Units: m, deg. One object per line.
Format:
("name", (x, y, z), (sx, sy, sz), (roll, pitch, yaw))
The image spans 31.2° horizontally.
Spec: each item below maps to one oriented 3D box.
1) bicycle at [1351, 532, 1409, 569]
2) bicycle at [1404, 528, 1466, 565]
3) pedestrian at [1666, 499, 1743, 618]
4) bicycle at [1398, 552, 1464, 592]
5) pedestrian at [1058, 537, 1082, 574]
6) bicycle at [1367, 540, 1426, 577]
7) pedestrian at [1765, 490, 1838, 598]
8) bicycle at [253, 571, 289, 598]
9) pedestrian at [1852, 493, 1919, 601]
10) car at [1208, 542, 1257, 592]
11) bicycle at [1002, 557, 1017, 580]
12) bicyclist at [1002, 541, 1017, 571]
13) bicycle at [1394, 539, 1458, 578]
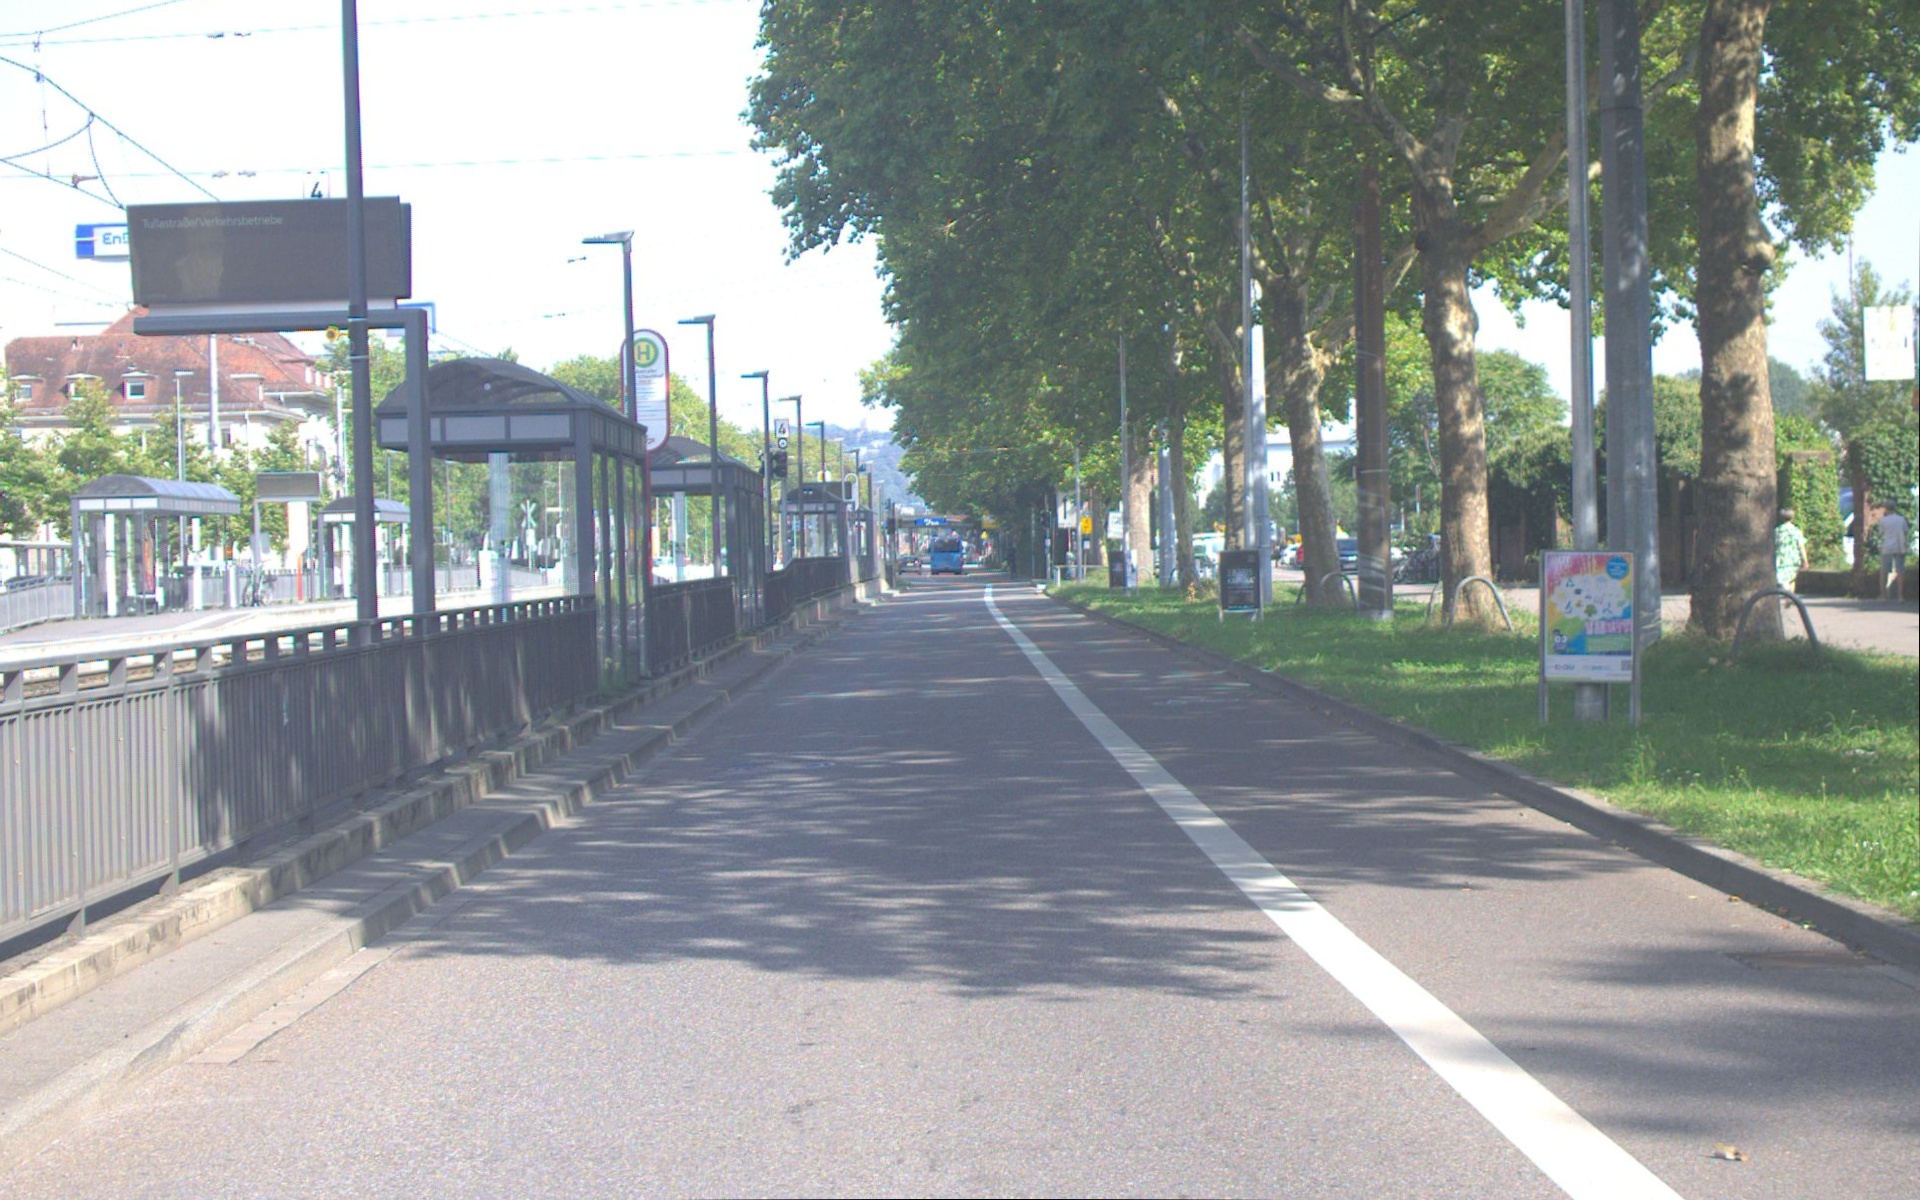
("bicycle", (11.931, -1.408, 97.655), (0.505, 0.966, 1.661), (-4, 1, -41))
("bicycle", (13.589, -1.522, 98.351), (1.656, 0.966, 0.506), (-3, 1, 3))
("pedestrian", (10.566, -0.594, 48.814), (0.806, 1.630, 0.947), (-3, 1, 0))
("bicycle", (12.362, -0.737, 90.232), (1.656, 0.966, 0.506), (-3, 1, 6))
("pedestrian", (4.819, -1.945, 151.144), (0.626, 1.612, 0.843), (-1, 1, 38))
("bicycle", (12.233, -1.160, 96.333), (0.505, 0.966, 1.661), (-4, 1, -41))
("pedestrian", (12.874, -0.860, 52.609), (0.806, 1.598, 0.947), (-3, 1, 0))
("bicycle", (-17.915, -0.400, 89.352), (0.477, 0.660, 1.613), (-2, 1, 4))
("pedestrian", (14.188, -0.811, 52.509), (0.806, 1.598, 0.947), (-3, 1, 0))
("car", (11.713, -1.436, 148.125), (1.722, 2.041, 4.461), (-2, 1, 0))
("bicycle", (2.406, -1.543, 166.630), (0.715, 1.104, 2.509), (0, 1, 0))
("bicyclist", (2.395, -2.128, 166.709), (0.705, 1.456, 1.009), (0, 0, 0))
("bicycle", (12.727, -1.146, 93.918), (1.656, 0.966, 0.506), (-3, 1, 6))
